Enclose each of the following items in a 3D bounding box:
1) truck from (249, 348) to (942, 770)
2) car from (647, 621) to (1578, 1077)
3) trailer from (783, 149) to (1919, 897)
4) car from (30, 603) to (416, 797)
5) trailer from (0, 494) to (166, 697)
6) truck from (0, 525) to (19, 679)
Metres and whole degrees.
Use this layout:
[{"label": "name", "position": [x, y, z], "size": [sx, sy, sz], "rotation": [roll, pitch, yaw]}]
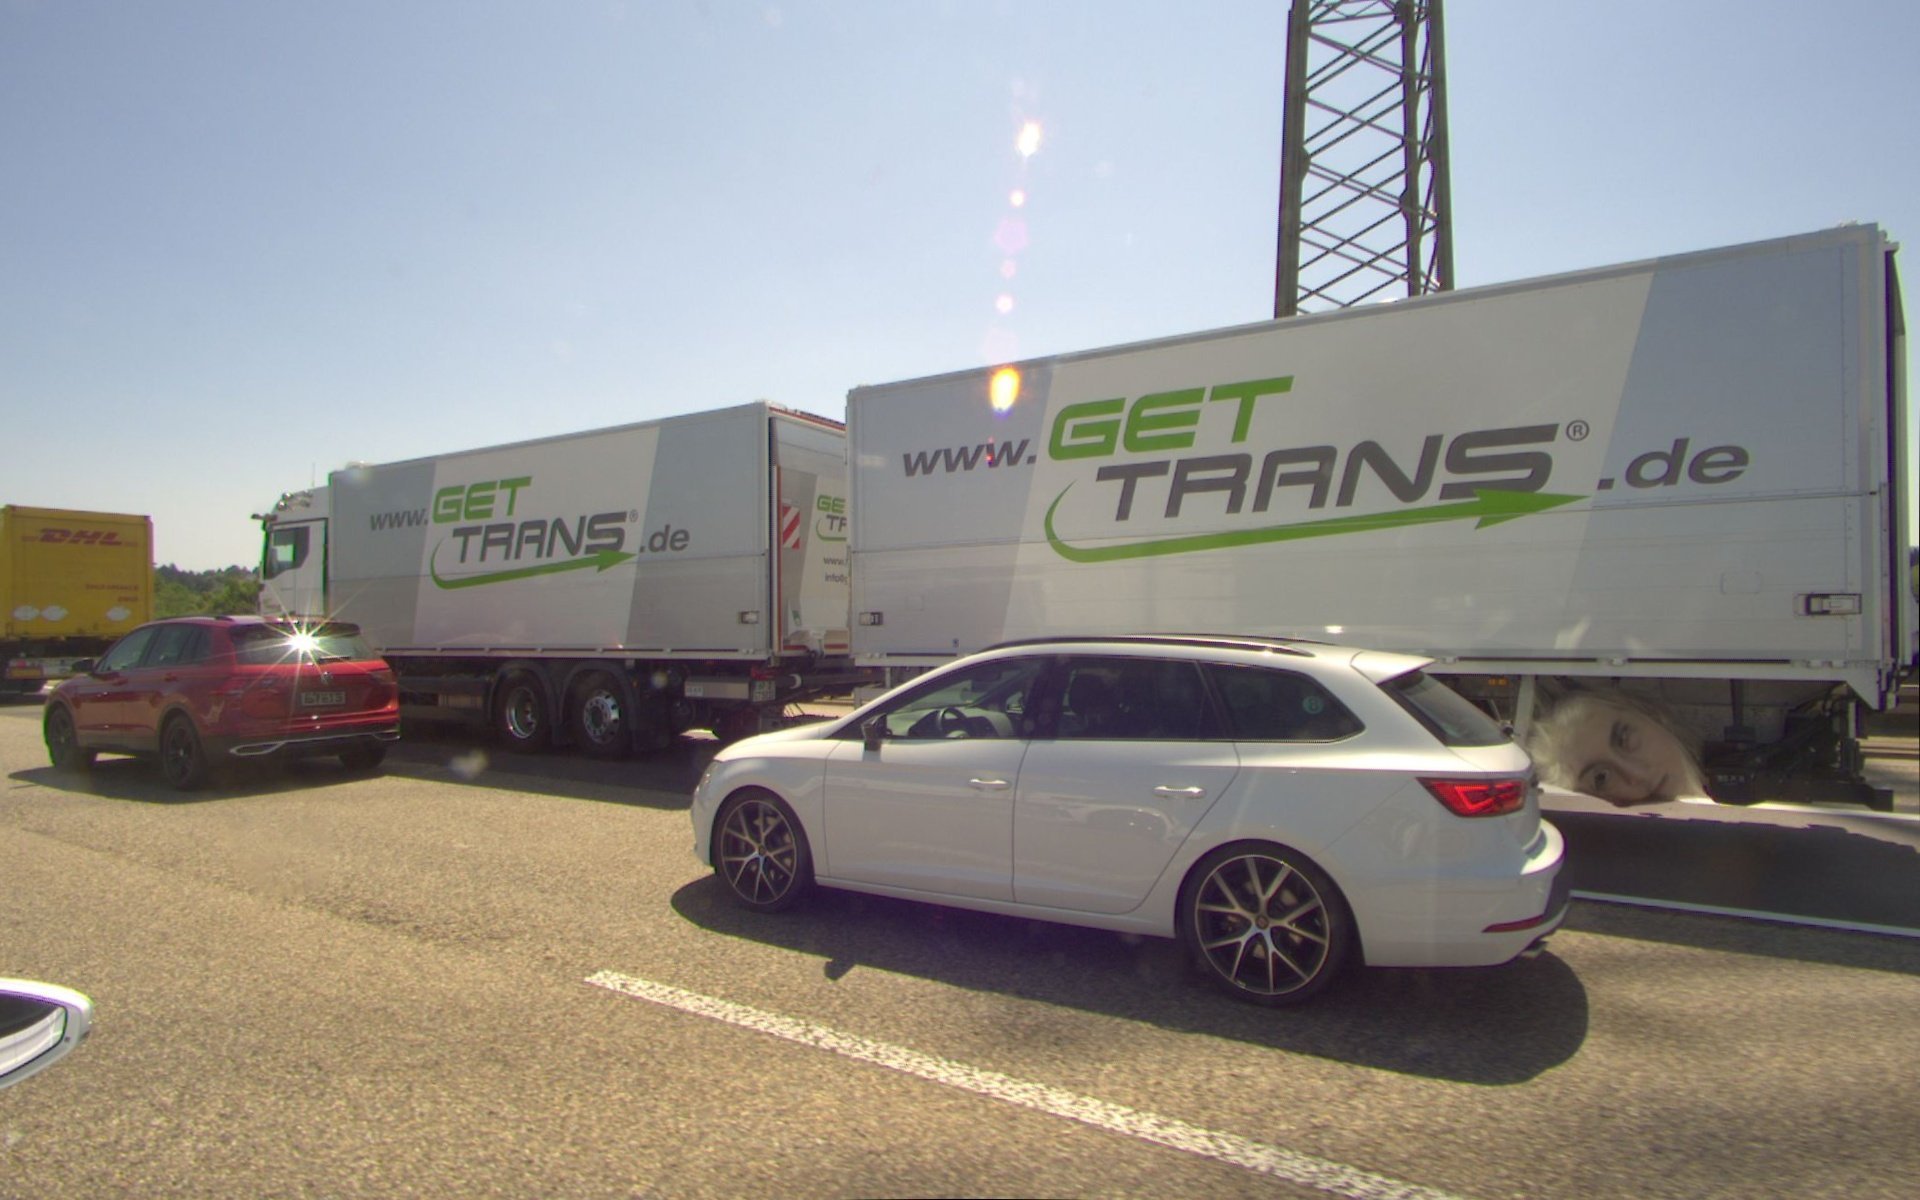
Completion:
[{"label": "truck", "position": [-5.401, -0.220, 13.407], "size": [10.457, 3.984, 2.848], "rotation": [-2, -2, 32]}, {"label": "car", "position": [0.575, 0.855, 5.119], "size": [4.364, 1.470, 1.706], "rotation": [-1, -2, 31]}, {"label": "trailer", "position": [2.520, -0.274, 8.527], "size": [8.096, 3.940, 2.895], "rotation": [-2, -2, 32]}, {"label": "car", "position": [-7.840, 0.945, 10.573], "size": [4.220, 1.700, 1.707], "rotation": [-2, -1, 29]}, {"label": "trailer", "position": [-22.536, 0.049, 23.841], "size": [8.848, 4.139, 2.679], "rotation": [-2, -2, 31]}, {"label": "truck", "position": [-30.512, 0.144, 28.607], "size": [9.794, 4.139, 2.696], "rotation": [-2, -2, 31]}]
